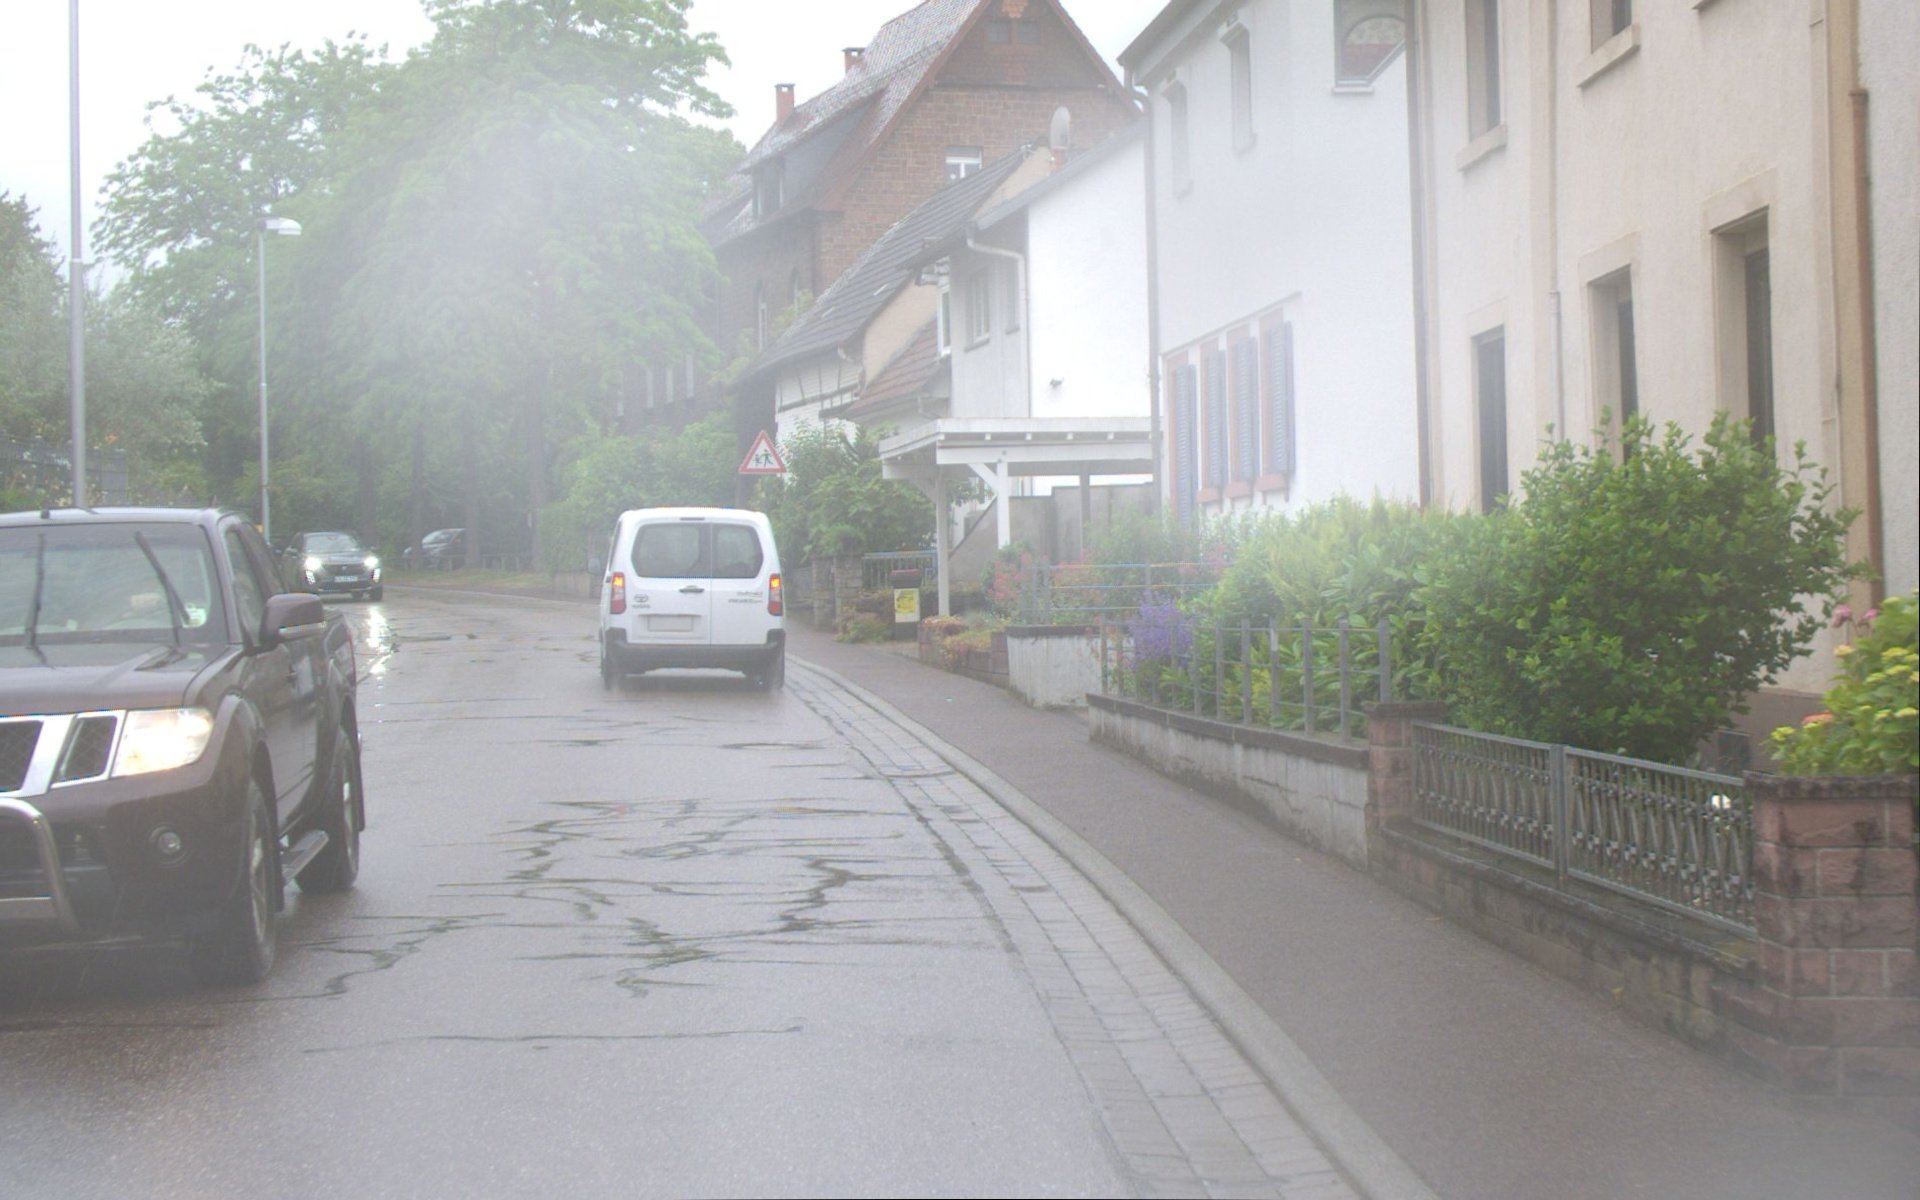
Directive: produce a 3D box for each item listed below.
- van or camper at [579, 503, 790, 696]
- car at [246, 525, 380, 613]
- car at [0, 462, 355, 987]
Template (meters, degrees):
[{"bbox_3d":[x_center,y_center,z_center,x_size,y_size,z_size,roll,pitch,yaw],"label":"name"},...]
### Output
[{"bbox_3d":[-2.761,-0.037,35.197,1.943,1.845,4.000,0,1,-2],"label":"van or camper"},{"bbox_3d":[-14.137,-0.691,74.961,1.993,1.872,4.001,0,1,-24],"label":"car"},{"bbox_3d":[-3.586,0.370,13.386,1.993,1.672,4.784,-1,1,-5],"label":"car"}]
